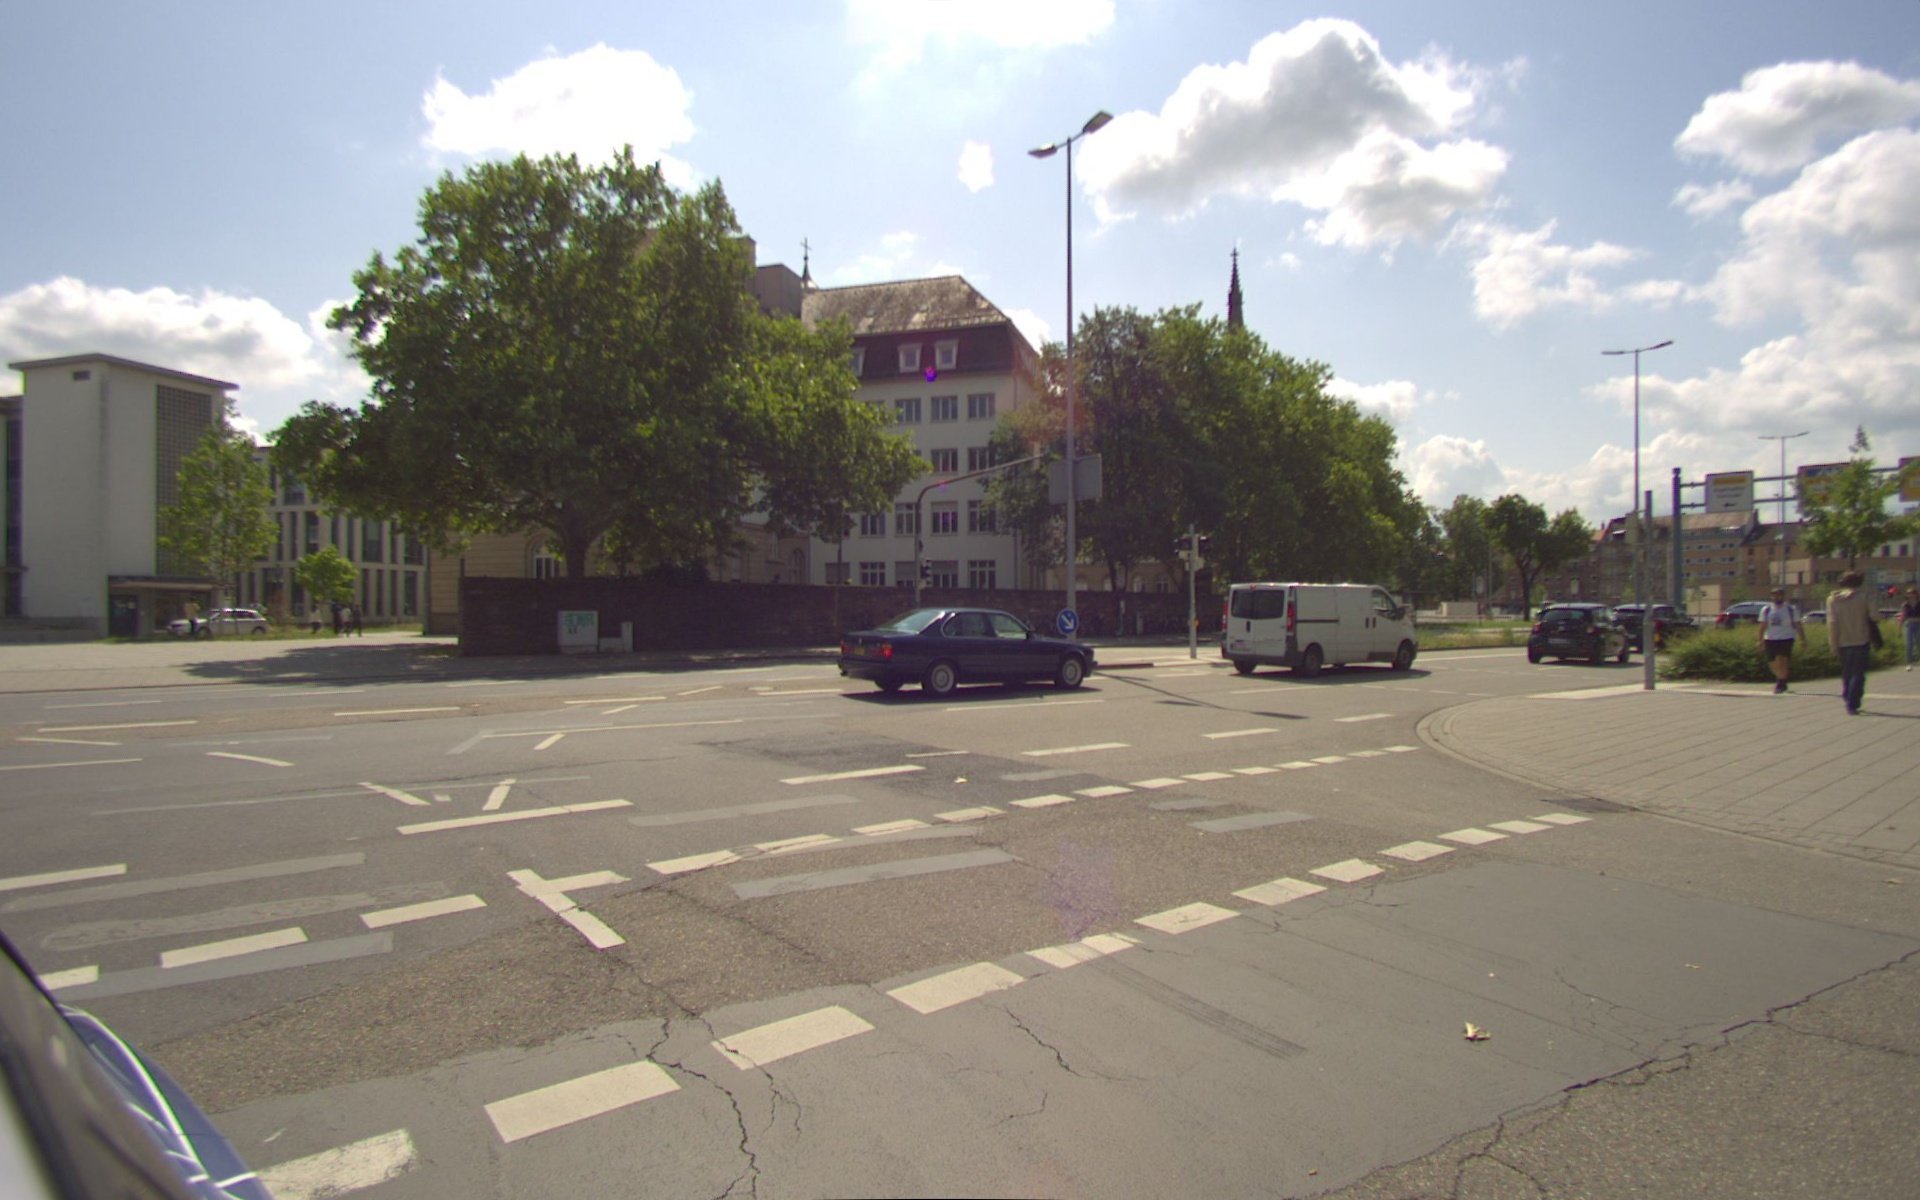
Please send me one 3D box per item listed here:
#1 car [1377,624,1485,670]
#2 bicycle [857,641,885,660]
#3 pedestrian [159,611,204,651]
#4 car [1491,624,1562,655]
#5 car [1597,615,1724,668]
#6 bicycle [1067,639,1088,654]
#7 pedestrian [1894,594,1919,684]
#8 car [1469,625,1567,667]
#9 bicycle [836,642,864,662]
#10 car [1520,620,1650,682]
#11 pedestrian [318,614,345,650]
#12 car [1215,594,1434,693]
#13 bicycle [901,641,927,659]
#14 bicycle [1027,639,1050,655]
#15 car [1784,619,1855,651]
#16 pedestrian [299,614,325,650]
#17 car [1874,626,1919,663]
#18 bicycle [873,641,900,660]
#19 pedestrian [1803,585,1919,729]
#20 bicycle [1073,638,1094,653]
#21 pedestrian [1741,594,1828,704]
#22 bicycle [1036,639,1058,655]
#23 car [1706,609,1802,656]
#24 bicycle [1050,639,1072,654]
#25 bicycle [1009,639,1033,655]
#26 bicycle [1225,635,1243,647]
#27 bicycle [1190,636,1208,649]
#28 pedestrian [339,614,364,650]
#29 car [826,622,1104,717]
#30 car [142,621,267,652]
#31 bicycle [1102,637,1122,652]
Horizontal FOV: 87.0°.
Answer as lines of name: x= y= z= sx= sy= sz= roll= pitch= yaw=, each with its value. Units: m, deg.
car: x=16.248 y=1.588 z=34.841 sx=3.742 sy=1.483 sz=1.758 roll=1 pitch=-1 yaw=-35
bicycle: x=-3.452 y=1.970 z=39.415 sx=1.002 sy=0.687 sz=0.405 roll=1 pitch=0 yaw=25
pedestrian: x=-32.893 y=1.293 z=42.770 sx=1.277 sy=1.663 sz=1.330 roll=1 pitch=-2 yaw=-28
car: x=28.979 y=1.995 z=51.744 sx=3.742 sy=1.483 sz=1.758 roll=1 pitch=-1 yaw=-35
car: x=22.668 y=1.282 z=32.681 sx=4.807 sy=1.541 sz=2.028 roll=1 pitch=0 yaw=-38
bicycle: x=5.674 y=2.226 z=48.850 sx=0.997 sy=0.687 sz=0.407 roll=1 pitch=0 yaw=12
pedestrian: x=20.382 y=0.819 z=21.340 sx=1.003 sy=1.882 sz=0.842 roll=1 pitch=-2 yaw=-39
car: x=20.925 y=1.704 z=37.909 sx=3.742 sy=1.483 sz=1.758 roll=1 pitch=-1 yaw=-35
bicycle: x=-4.177 y=1.982 z=38.518 sx=1.002 sy=0.687 sz=0.405 roll=1 pitch=0 yaw=25
car: x=16.170 y=1.266 z=26.131 sx=3.458 sy=1.496 sz=1.621 roll=1 pitch=-1 yaw=-35
pedestrian: x=-31.875 y=1.622 z=51.332 sx=0.878 sy=1.803 sz=0.845 roll=0 pitch=-2 yaw=-9
car: x=8.122 y=0.902 z=22.355 sx=5.108 sy=1.970 sz=2.018 roll=1 pitch=-1 yaw=-35
bicycle: x=-1.864 y=2.015 z=40.998 sx=1.002 sy=0.687 sz=0.405 roll=1 pitch=0 yaw=25
bicycle: x=3.639 y=2.169 z=46.808 sx=0.997 sy=0.687 sz=0.407 roll=1 pitch=0 yaw=12
car: x=36.635 y=1.466 z=43.125 sx=3.460 sy=1.335 sz=1.620 roll=1 pitch=-1 yaw=-38
pedestrian: x=-32.836 y=1.594 z=51.288 sx=0.802 sy=1.803 sz=0.844 roll=0 pitch=-1 yaw=-5
car: x=37.919 y=1.760 z=40.328 sx=3.460 sy=1.422 sz=1.620 roll=2 pitch=-2 yaw=-38
bicycle: x=-2.899 y=1.986 z=40.095 sx=1.002 sy=0.687 sz=0.405 roll=1 pitch=0 yaw=25
pedestrian: x=11.372 y=0.689 z=12.666 sx=1.162 sy=1.717 sz=0.800 roll=0 pitch=-2 yaw=-26
bicycle: x=6.059 y=2.228 z=49.536 sx=0.997 sy=0.687 sz=0.407 roll=1 pitch=0 yaw=12
pedestrian: x=13.395 y=0.797 z=16.445 sx=0.916 sy=1.714 sz=0.856 roll=2 pitch=-4 yaw=-37
bicycle: x=4.059 y=2.181 z=47.256 sx=0.997 sy=0.687 sz=0.407 roll=1 pitch=0 yaw=12
car: x=29.671 y=1.176 z=37.779 sx=4.322 sy=1.613 sz=1.837 roll=1 pitch=0 yaw=-38
bicycle: x=4.803 y=2.201 z=47.912 sx=0.997 sy=0.687 sz=0.407 roll=1 pitch=0 yaw=12
bicycle: x=2.784 y=2.147 z=46.189 sx=0.997 sy=0.687 sz=0.407 roll=1 pitch=0 yaw=12
bicycle: x=16.885 y=2.549 z=62.404 sx=0.997 sy=0.687 sz=0.407 roll=1 pitch=0 yaw=12
bicycle: x=13.780 y=2.458 z=58.317 sx=0.997 sy=0.687 sz=0.407 roll=1 pitch=0 yaw=12
pedestrian: x=-30.883 y=1.603 z=51.354 sx=0.851 sy=1.803 sz=0.845 roll=0 pitch=-1 yaw=-13
car: x=0.166 y=1.072 z=16.975 sx=4.537 sy=1.397 sz=1.701 roll=1 pitch=-1 yaw=-35
car: x=-35.859 y=1.692 z=48.191 sx=1.983 sy=1.316 sz=4.468 roll=1 pitch=0 yaw=18
bicycle: x=7.735 y=2.249 z=51.410 sx=0.997 sy=0.687 sz=0.407 roll=1 pitch=0 yaw=12
